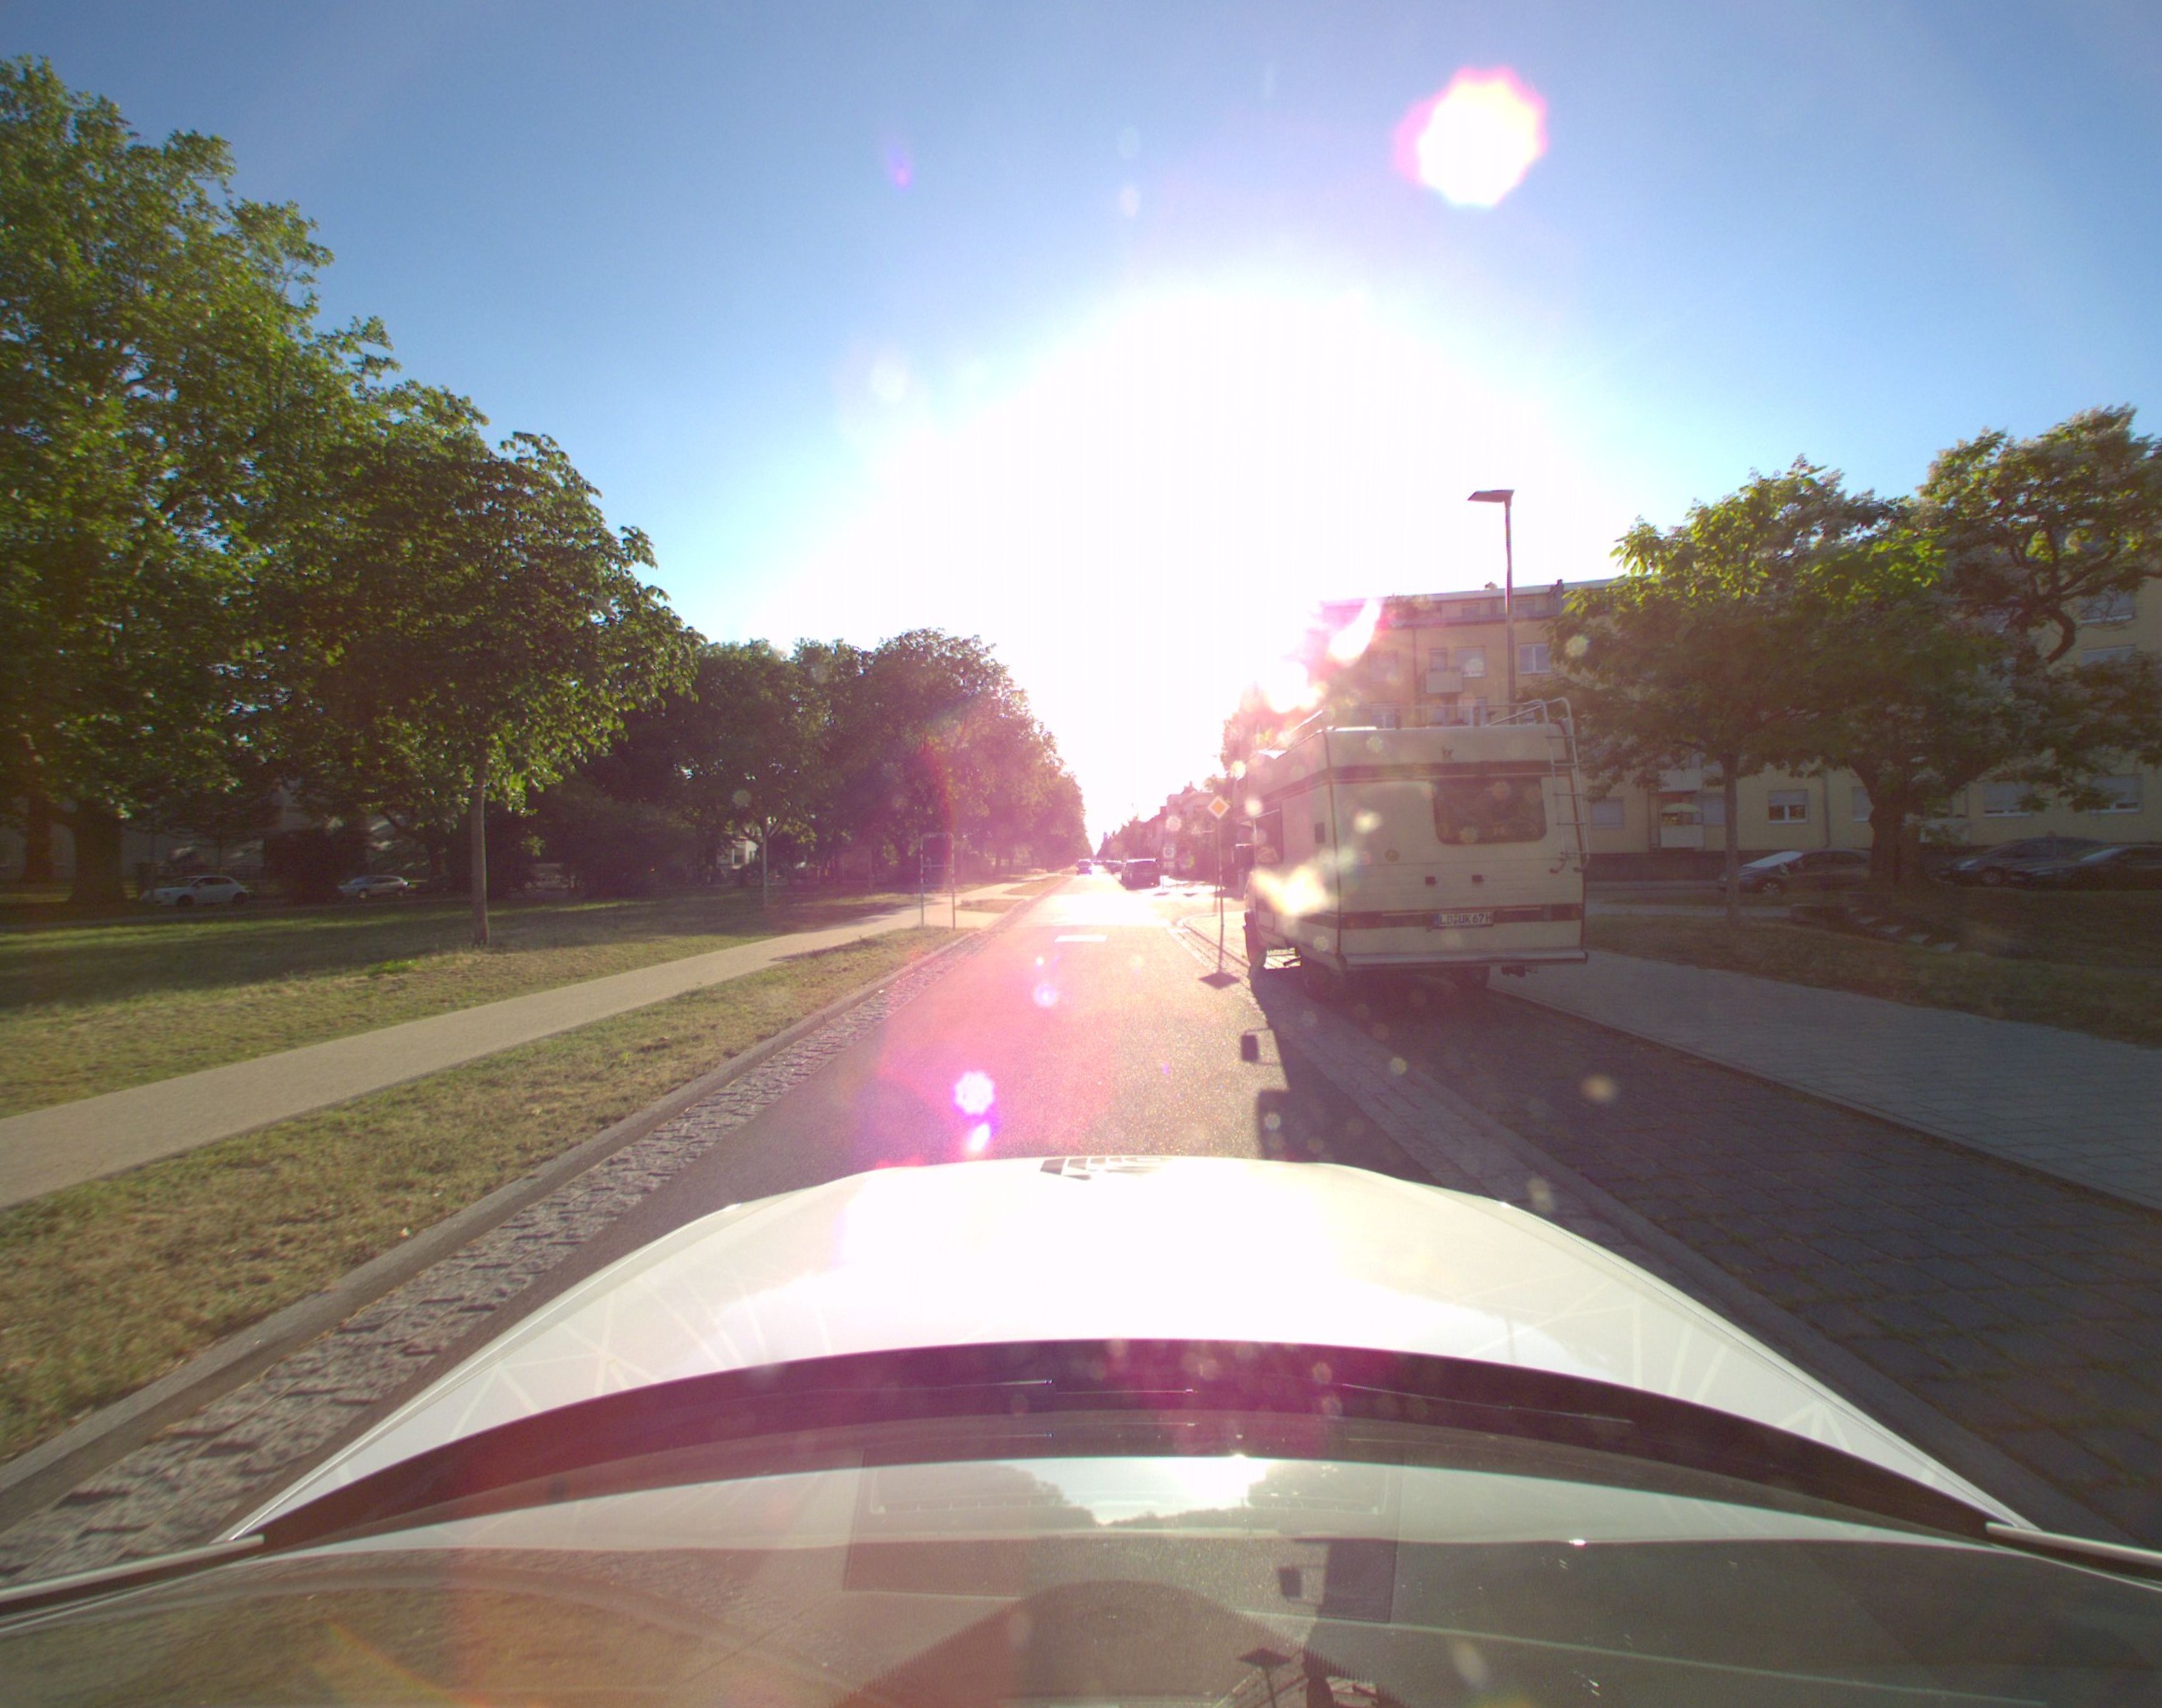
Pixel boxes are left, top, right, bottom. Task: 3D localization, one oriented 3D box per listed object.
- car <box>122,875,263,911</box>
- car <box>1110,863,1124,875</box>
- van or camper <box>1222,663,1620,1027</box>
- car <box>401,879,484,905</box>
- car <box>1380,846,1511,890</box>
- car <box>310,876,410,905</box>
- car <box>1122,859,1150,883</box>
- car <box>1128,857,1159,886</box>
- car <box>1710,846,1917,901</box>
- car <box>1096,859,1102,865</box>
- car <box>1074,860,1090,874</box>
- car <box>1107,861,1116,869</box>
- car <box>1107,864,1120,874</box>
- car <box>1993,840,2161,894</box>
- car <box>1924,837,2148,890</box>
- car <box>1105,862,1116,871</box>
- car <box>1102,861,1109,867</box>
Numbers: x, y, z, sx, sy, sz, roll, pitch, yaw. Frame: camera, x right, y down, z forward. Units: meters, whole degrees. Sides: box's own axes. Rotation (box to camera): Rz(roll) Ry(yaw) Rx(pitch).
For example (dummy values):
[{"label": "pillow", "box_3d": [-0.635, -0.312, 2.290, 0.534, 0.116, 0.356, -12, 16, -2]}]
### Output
[{"label": "car", "box_3d": [-41.415, 1.767, 38.105, 1.986, 1.508, 4.117, -2, -1, 2]}, {"label": "car", "box_3d": [4.566, 1.903, 104.447, 1.621, 1.410, 4.249, -2, -1, 1]}, {"label": "van or camper", "box_3d": [3.249, 0.004, 9.470, 2.226, 2.904, 5.672, -2, -2, 1]}, {"label": "car", "box_3d": [-41.210, 2.452, 52.704, 1.986, 1.508, 4.117, -2, -1, 2]}, {"label": "car", "box_3d": [13.944, 0.534, 31.386, 4.175, 1.530, 2.003, -2, -1, 5]}, {"label": "car", "box_3d": [-41.483, 2.091, 47.008, 1.986, 1.508, 4.117, -2, -1, 2]}, {"label": "car", "box_3d": [4.180, 1.259, 61.662, 1.985, 1.717, 4.004, -2, -1, 4]}, {"label": "car", "box_3d": [3.859, 1.074, 50.899, 1.621, 1.669, 4.249, -2, -1, 1]}, {"label": "car", "box_3d": [21.279, 0.577, 23.857, 4.163, 1.463, 1.700, -2, -1, 16]}, {"label": "car", "box_3d": [5.382, 2.304, 243.600, 1.621, 1.669, 4.249, -2, -1, 1]}, {"label": "car", "box_3d": [0.192, 1.589, 98.563, 1.819, 1.669, 4.249, -2, -1, 1]}, {"label": "car", "box_3d": [5.648, 2.145, 152.240, 1.621, 1.410, 4.249, -2, -1, 1]}, {"label": "car", "box_3d": [4.592, 2.095, 115.703, 1.621, 1.410, 4.249, -2, -1, 1]}, {"label": "car", "box_3d": [27.914, 0.336, 21.895, 4.159, 1.357, 1.702, -2, -1, 21]}, {"label": "car", "box_3d": [31.575, 0.327, 27.113, 4.474, 1.569, 1.890, -2, -1, 19]}, {"label": "car", "box_3d": [4.902, 2.157, 135.938, 1.621, 1.410, 4.249, -2, -1, 1]}, {"label": "car", "box_3d": [6.219, 2.478, 204.548, 1.621, 1.410, 4.249, -2, -1, 1]}]
